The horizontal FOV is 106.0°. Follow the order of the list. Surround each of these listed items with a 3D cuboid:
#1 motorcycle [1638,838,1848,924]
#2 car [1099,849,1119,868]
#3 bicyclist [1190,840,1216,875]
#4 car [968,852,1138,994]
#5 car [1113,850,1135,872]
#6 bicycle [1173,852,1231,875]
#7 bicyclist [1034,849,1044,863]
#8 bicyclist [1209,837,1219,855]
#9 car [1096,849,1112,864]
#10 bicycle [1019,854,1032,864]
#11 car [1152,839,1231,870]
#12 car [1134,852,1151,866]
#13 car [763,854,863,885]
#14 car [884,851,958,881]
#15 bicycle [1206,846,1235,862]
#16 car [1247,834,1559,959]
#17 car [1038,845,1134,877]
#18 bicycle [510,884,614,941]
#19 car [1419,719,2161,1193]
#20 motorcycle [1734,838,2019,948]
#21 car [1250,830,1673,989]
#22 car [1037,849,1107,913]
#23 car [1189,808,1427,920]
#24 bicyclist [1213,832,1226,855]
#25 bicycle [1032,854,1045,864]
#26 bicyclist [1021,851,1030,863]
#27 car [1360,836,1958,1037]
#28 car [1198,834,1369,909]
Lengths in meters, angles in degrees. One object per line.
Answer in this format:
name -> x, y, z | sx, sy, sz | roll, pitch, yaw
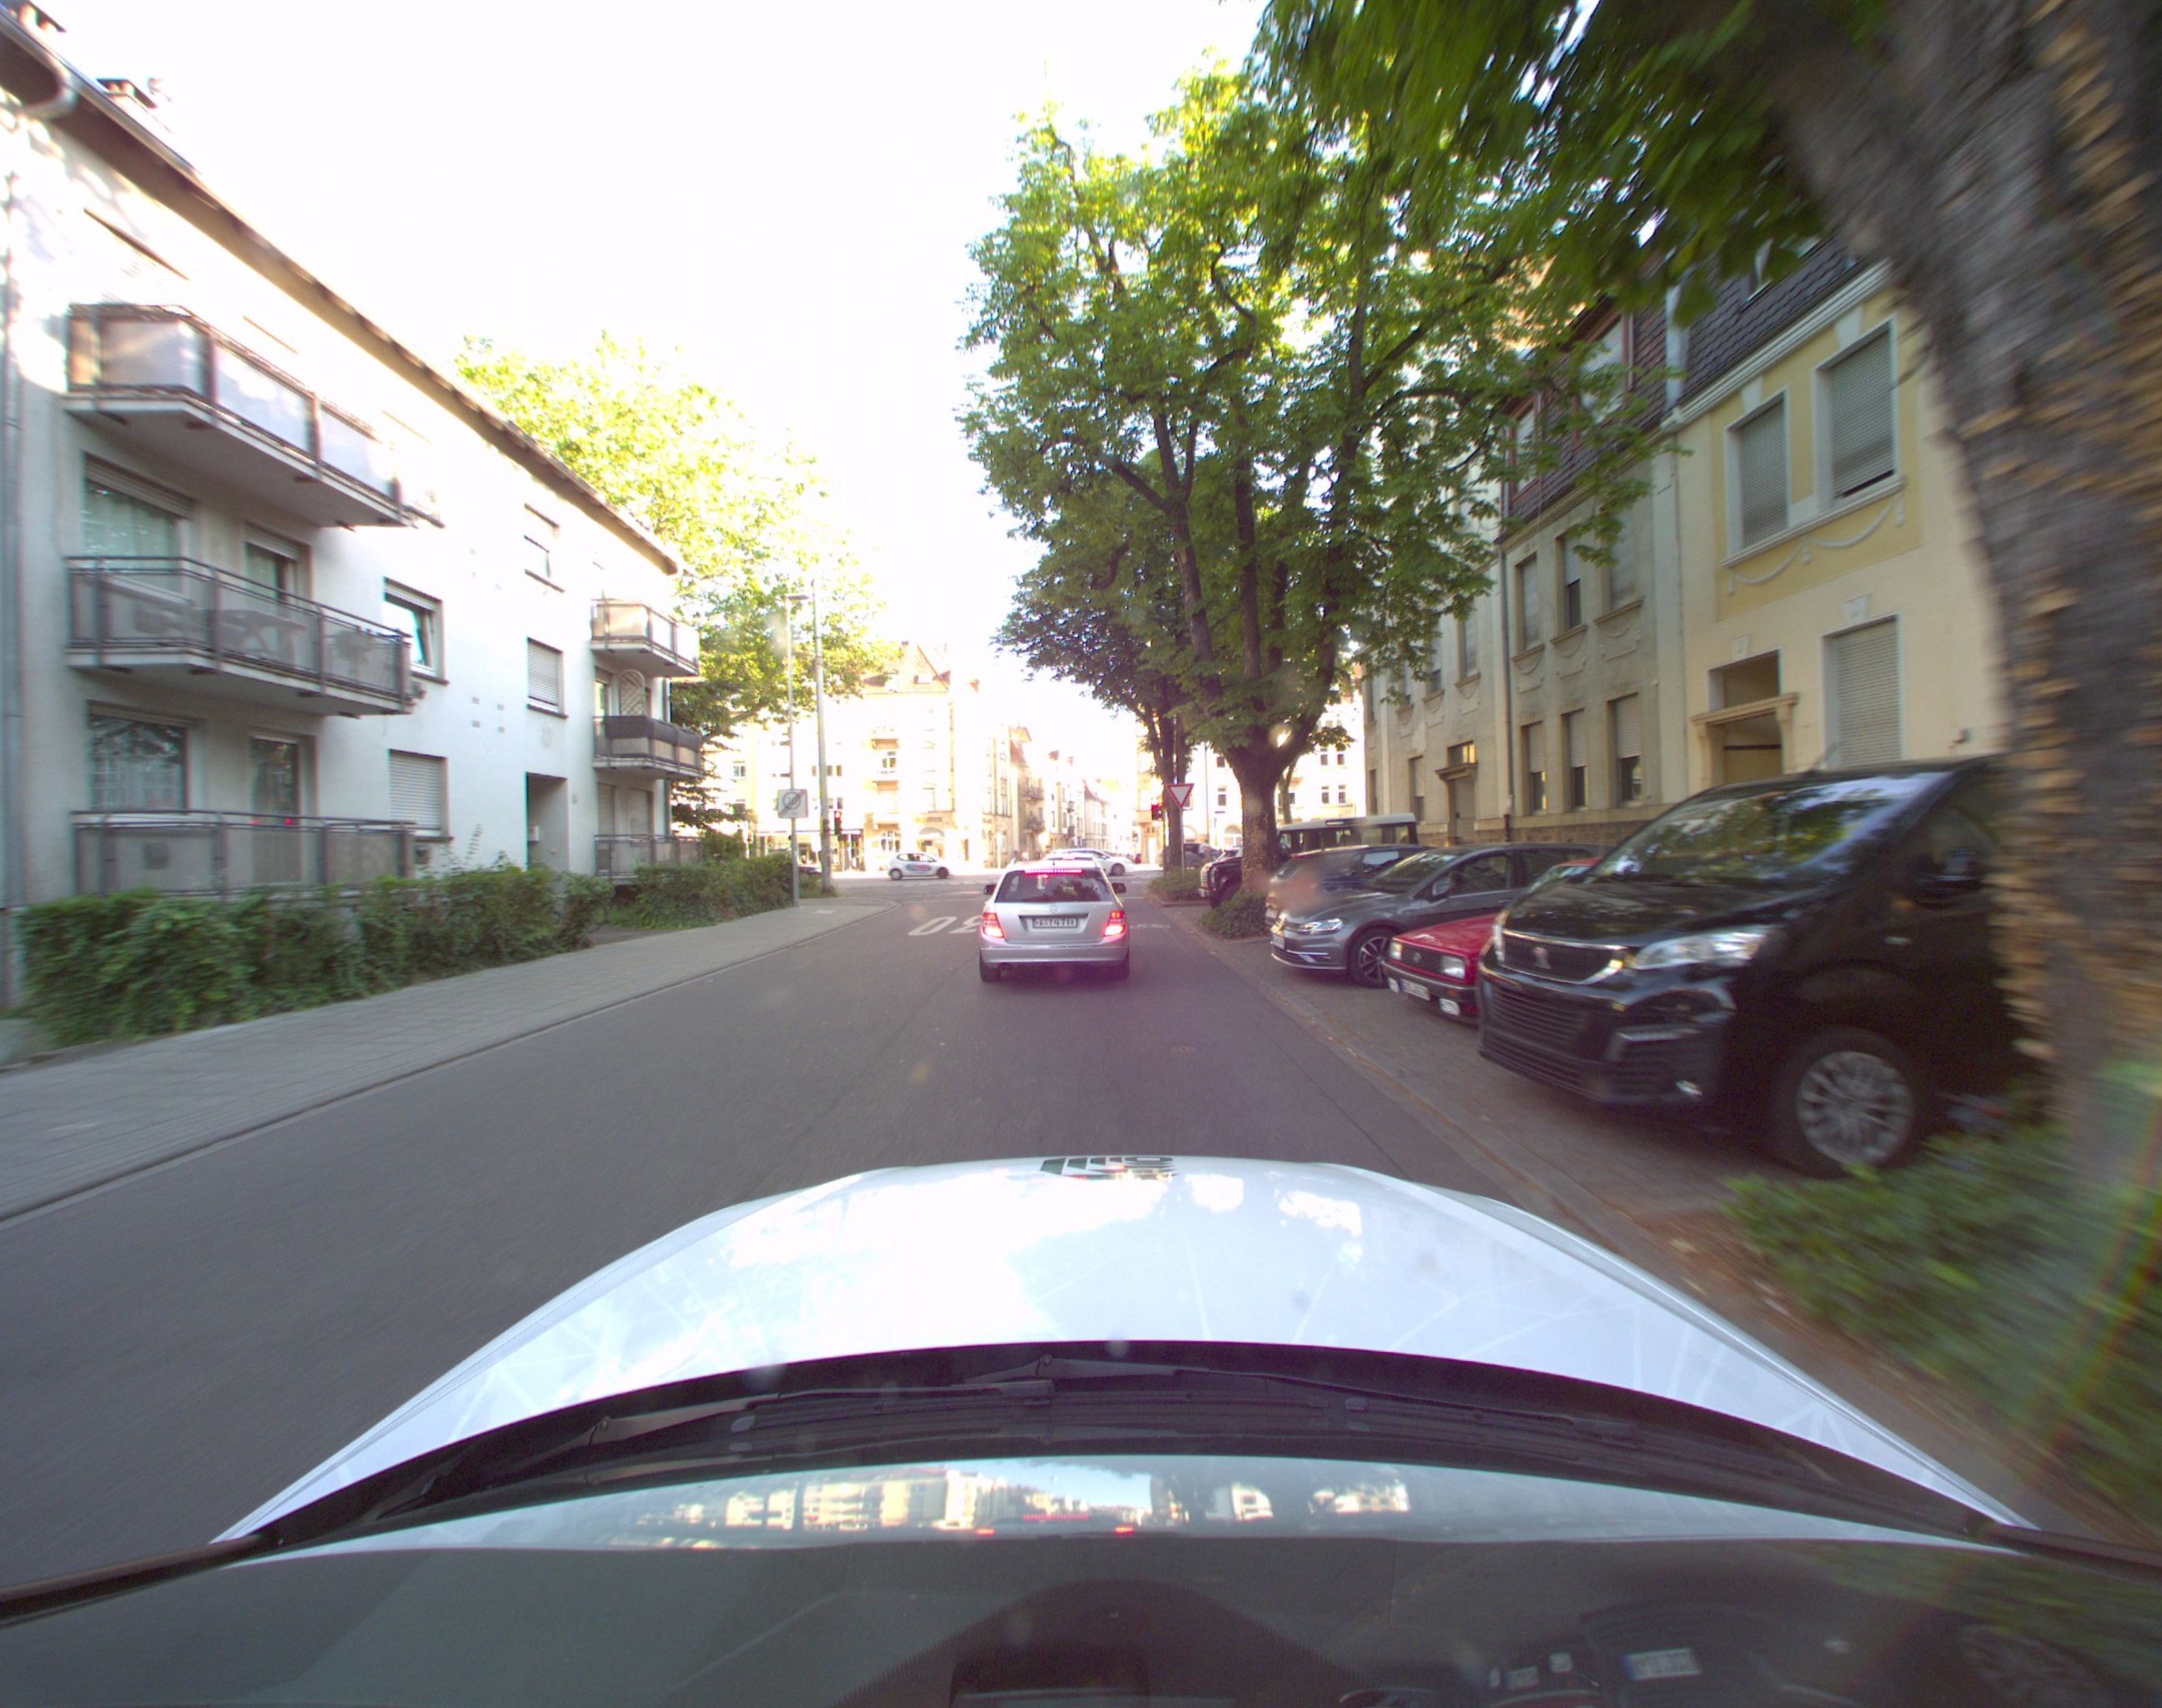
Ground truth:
motorcycle -> 9.533, 0.331, 11.953 | 0.691, 1.073, 2.869 | -4, 1, 0
car -> 3.716, 0.593, 106.210 | 2.019, 2.279, 4.011 | -1, 1, 9
bicyclist -> 5.997, 0.163, 40.085 | 0.997, 1.654, 0.804 | -2, 0, -10
car -> -0.324, 0.722, 10.898 | 1.772, 1.452, 4.546 | -1, 0, -1
car -> 4.925, 0.797, 92.907 | 2.019, 2.279, 4.011 | -1, 1, 9
bicycle -> 5.965, 0.465, 40.079 | 2.683, 1.040, 0.804 | -2, 0, -10
bicyclist -> -4.178, 0.187, 80.543 | 0.765, 1.290, 0.755 | -1, 1, 12
bicyclist -> 10.759, -0.647, 65.920 | 0.642, 1.426, 0.636 | -2, 0, -4
car -> 3.548, 0.356, 124.374 | 1.776, 2.204, 4.011 | -1, 1, 9
bicycle -> -5.494, 0.505, 80.464 | 0.765, 0.940, 1.947 | -1, 1, 12
car -> 6.081, 0.015, 45.079 | 3.962, 1.581, 1.735 | -2, 0, -7
car -> 8.217, 0.696, 108.920 | 1.824, 1.744, 4.011 | -1, 1, 9
car -> -13.910, 0.792, 42.492 | 4.685, 1.428, 1.714 | -2, 0, -8
car -> -8.416, 0.612, 43.148 | 3.684, 1.449, 1.512 | -2, 0, -8
bicycle -> 11.479, 0.029, 67.086 | 2.252, 1.246, 0.636 | -2, 0, -4
car -> 4.430, 0.546, 11.562 | 3.715, 1.452, 1.707 | -3, 0, -3
car -> 0.214, 0.338, 41.598 | 4.659, 1.448, 1.735 | -2, 0, -9
bicycle -> -10.030, 1.107, 15.760 | 1.630, 1.008, 0.511 | 1, -1, -40
car -> 4.648, 0.351, 4.500 | 4.740, 1.874, 1.895 | -3, 0, -4
motorcycle -> 9.249, 0.385, 9.691 | 0.956, 1.073, 2.481 | -4, 1, 1
car -> 4.184, 0.570, 9.365 | 4.044, 1.452, 1.721 | -3, 0, -3
car -> -0.239, 0.619, 21.085 | 1.614, 1.446, 4.343 | -1, 0, -1
car -> 4.679, 0.195, 17.152 | 4.455, 2.036, 1.699 | -3, 0, -3
bicyclist -> 11.408, -0.894, 67.076 | 0.890, 1.859, 0.636 | -2, 0, -4
bicycle -> -4.173, 0.481, 80.543 | 0.765, 0.934, 1.947 | -1, 1, 12
bicyclist -> -5.479, 0.282, 80.541 | 0.765, 1.156, 0.755 | -1, 1, 12
car -> 4.780, 0.617, 7.073 | 4.128, 1.315, 1.627 | -3, 0, -4
car -> 4.918, 0.411, 20.093 | 3.715, 1.570, 1.707 | -3, 0, -3
